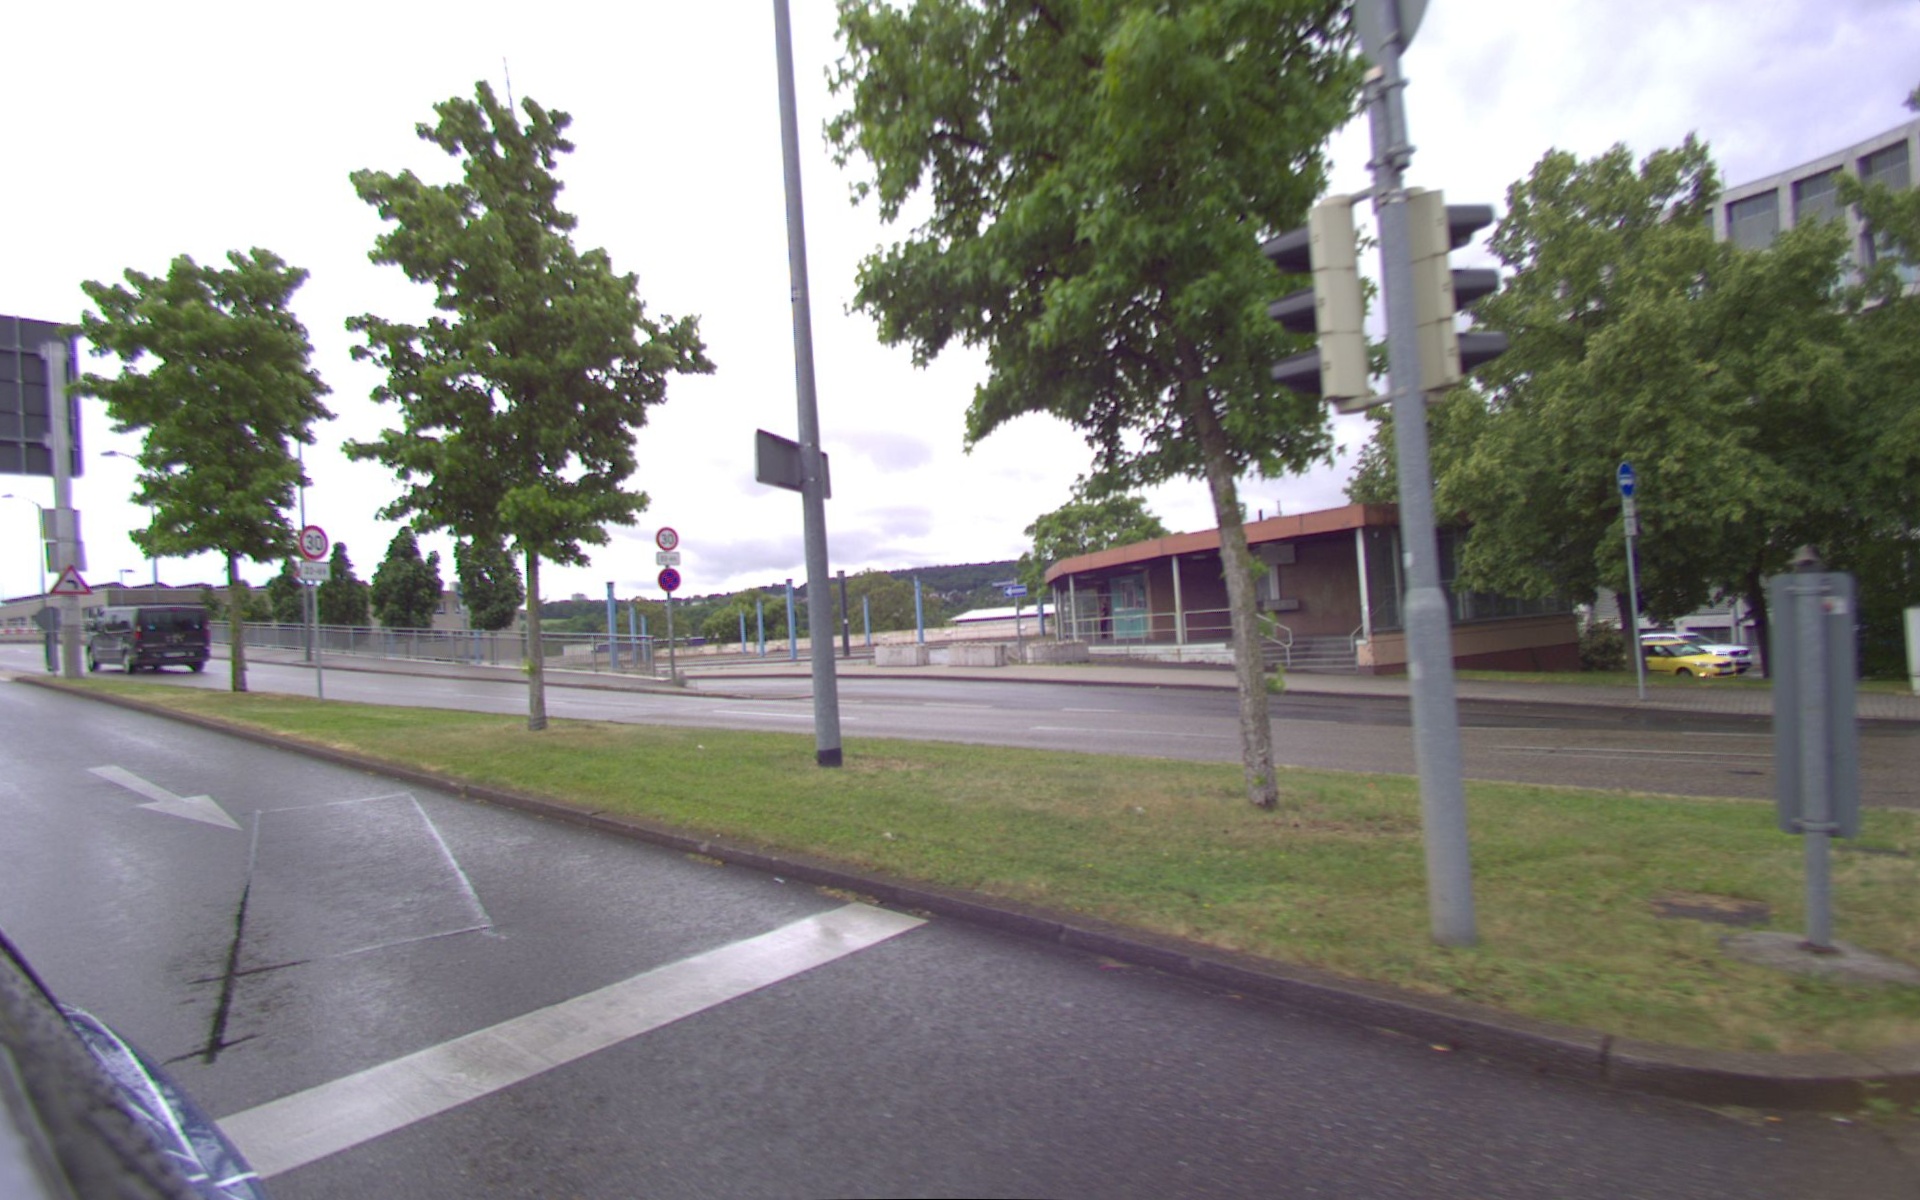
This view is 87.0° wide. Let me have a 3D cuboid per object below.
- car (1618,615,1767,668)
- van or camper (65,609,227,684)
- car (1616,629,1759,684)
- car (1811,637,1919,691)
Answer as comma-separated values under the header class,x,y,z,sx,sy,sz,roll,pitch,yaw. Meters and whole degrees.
class,x,y,z,sx,sy,sz,roll,pitch,yaw
car,27.619,1.605,38.375,1.699,1.832,4.441,-2,-3,-13
van or camper,-24.586,1.355,30.514,5.267,2.088,2.199,-1,-2,32
car,24.935,1.940,34.843,1.699,1.711,3.660,-2,-3,-13
car,29.396,1.959,31.219,1.699,1.580,4.592,-2,-3,-14
